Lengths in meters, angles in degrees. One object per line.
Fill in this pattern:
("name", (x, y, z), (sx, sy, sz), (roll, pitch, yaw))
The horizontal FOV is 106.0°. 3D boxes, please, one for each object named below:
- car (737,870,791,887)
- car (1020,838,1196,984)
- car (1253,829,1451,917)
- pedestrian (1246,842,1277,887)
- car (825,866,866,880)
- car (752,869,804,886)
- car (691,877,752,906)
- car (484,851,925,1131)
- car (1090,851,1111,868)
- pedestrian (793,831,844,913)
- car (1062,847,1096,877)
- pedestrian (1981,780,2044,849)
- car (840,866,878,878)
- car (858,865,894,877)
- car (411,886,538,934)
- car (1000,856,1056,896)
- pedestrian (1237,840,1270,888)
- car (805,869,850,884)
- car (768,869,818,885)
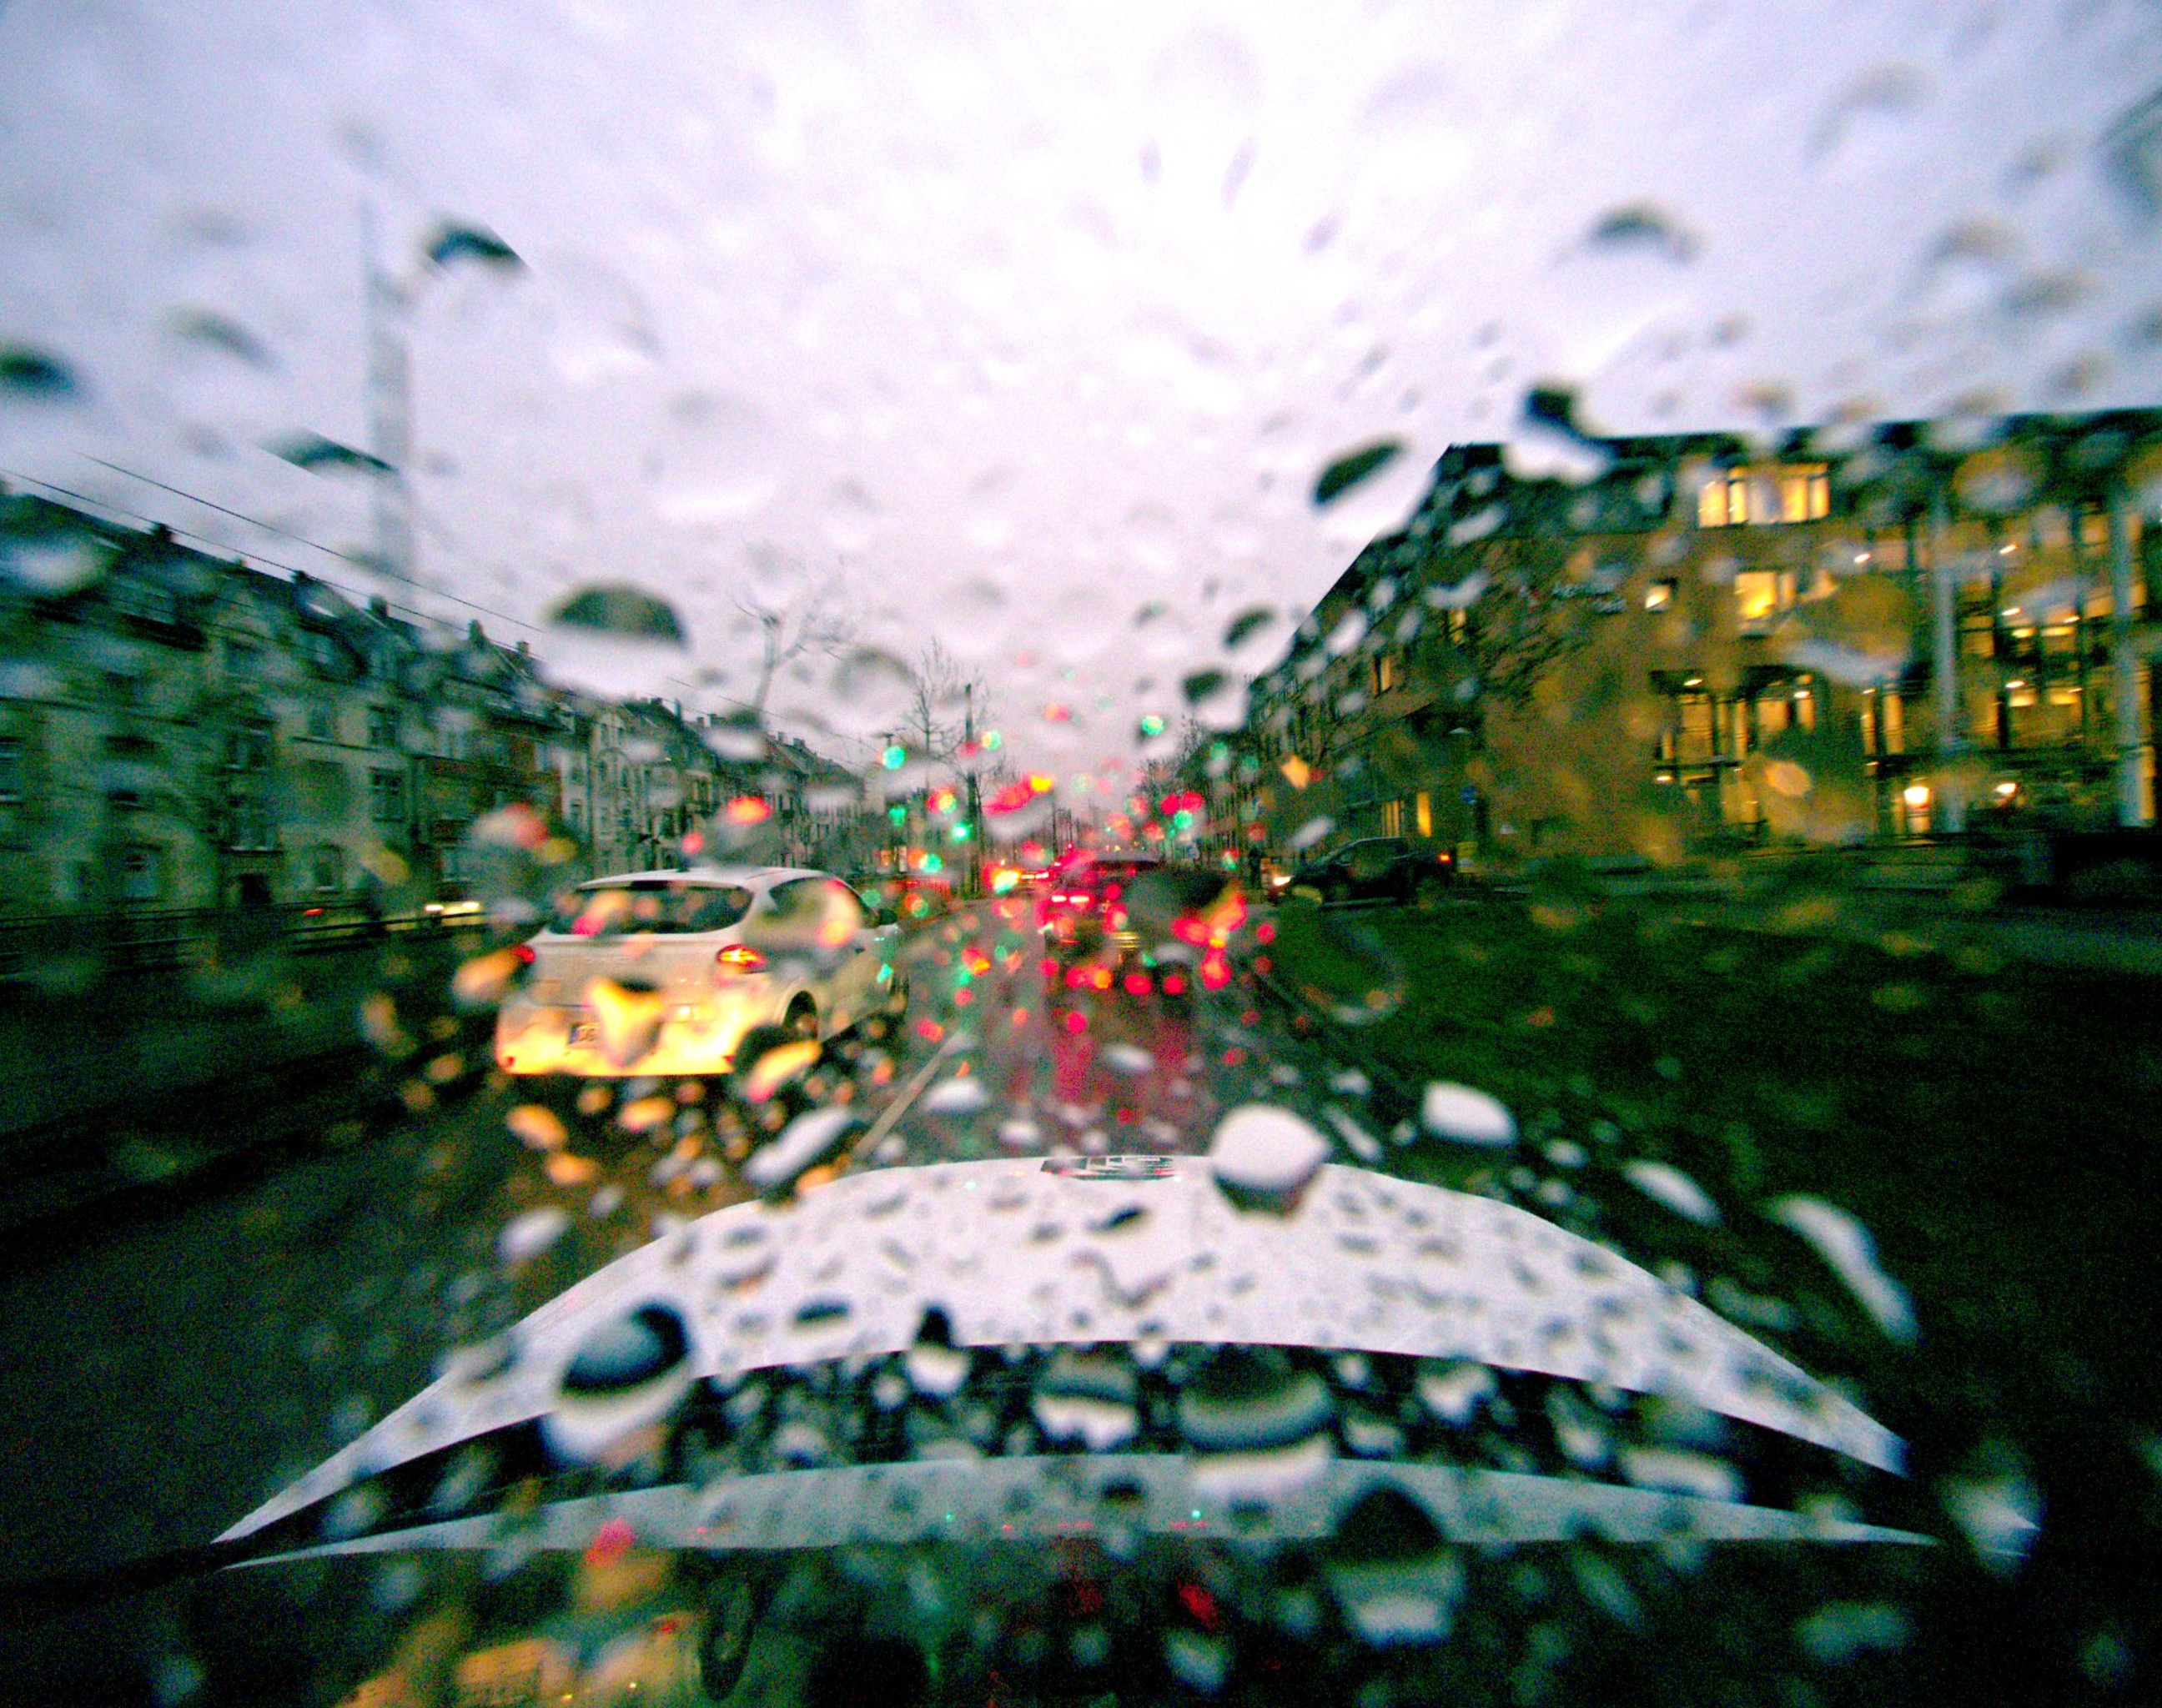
("car", (-25.995, 2.012, 66.785), (3.754, 1.156, 1.653), (-4, 0, 7))
("car", (0.353, 0.675, 11.585), (1.984, 1.616, 4.001), (-3, 0, 1))
("car", (6.047, 0.409, 18.503), (3.844, 1.560, 1.767), (-5, 0, 3))
("pedestrian", (6.640, 0.399, 30.021), (0.893, 1.596, 0.505), (-4, -1, 44))
("car", (-24.828, 2.004, 85.821), (3.754, 1.156, 1.653), (-4, 0, 7))
("car", (-25.847, 2.022, 69.460), (3.754, 1.156, 1.653), (-4, 0, 7))
("car", (-20.645, 2.140, 46.905), (1.648, 1.398, 3.768), (-3, 0, 2))
("car", (-2.511, 0.771, 6.613), (1.621, 1.487, 4.000), (-3, 0, 0))
("car", (2.046, 0.548, 84.365), (1.986, 1.618, 4.002), (-3, 0, 2))
("pedestrian", (-5.183, 0.351, 16.092), (0.696, 1.552, 0.669), (-3, 0, 1))
("car", (-0.094, 0.501, 52.529), (1.986, 1.765, 4.001), (-3, 0, 2))
("pedestrian", (22.747, -0.949, 19.896), (0.628, 1.637, 0.738), (-3, 0, 7))
("car", (-25.167, 2.032, 92.492), (3.754, 1.156, 1.653), (-4, 0, 7))
("car", (-24.097, 1.962, 95.854), (3.754, 1.156, 1.653), (-4, 0, 7))
("car", (-21.897, 1.991, 29.598), (1.648, 1.398, 3.768), (-3, 0, 2))
("car", (-2.088, 0.852, 33.263), (1.988, 1.398, 3.998), (-3, 0, -1))
("pedestrian", (5.900, 0.345, 27.843), (0.893, 1.596, 0.505), (-4, -1, 44))
("car", (-24.786, 2.221, 79.597), (3.754, 1.156, 1.653), (-4, 0, 7))
("car", (-25.582, 2.055, 72.336), (3.754, 1.156, 1.653), (-4, 0, 7))
